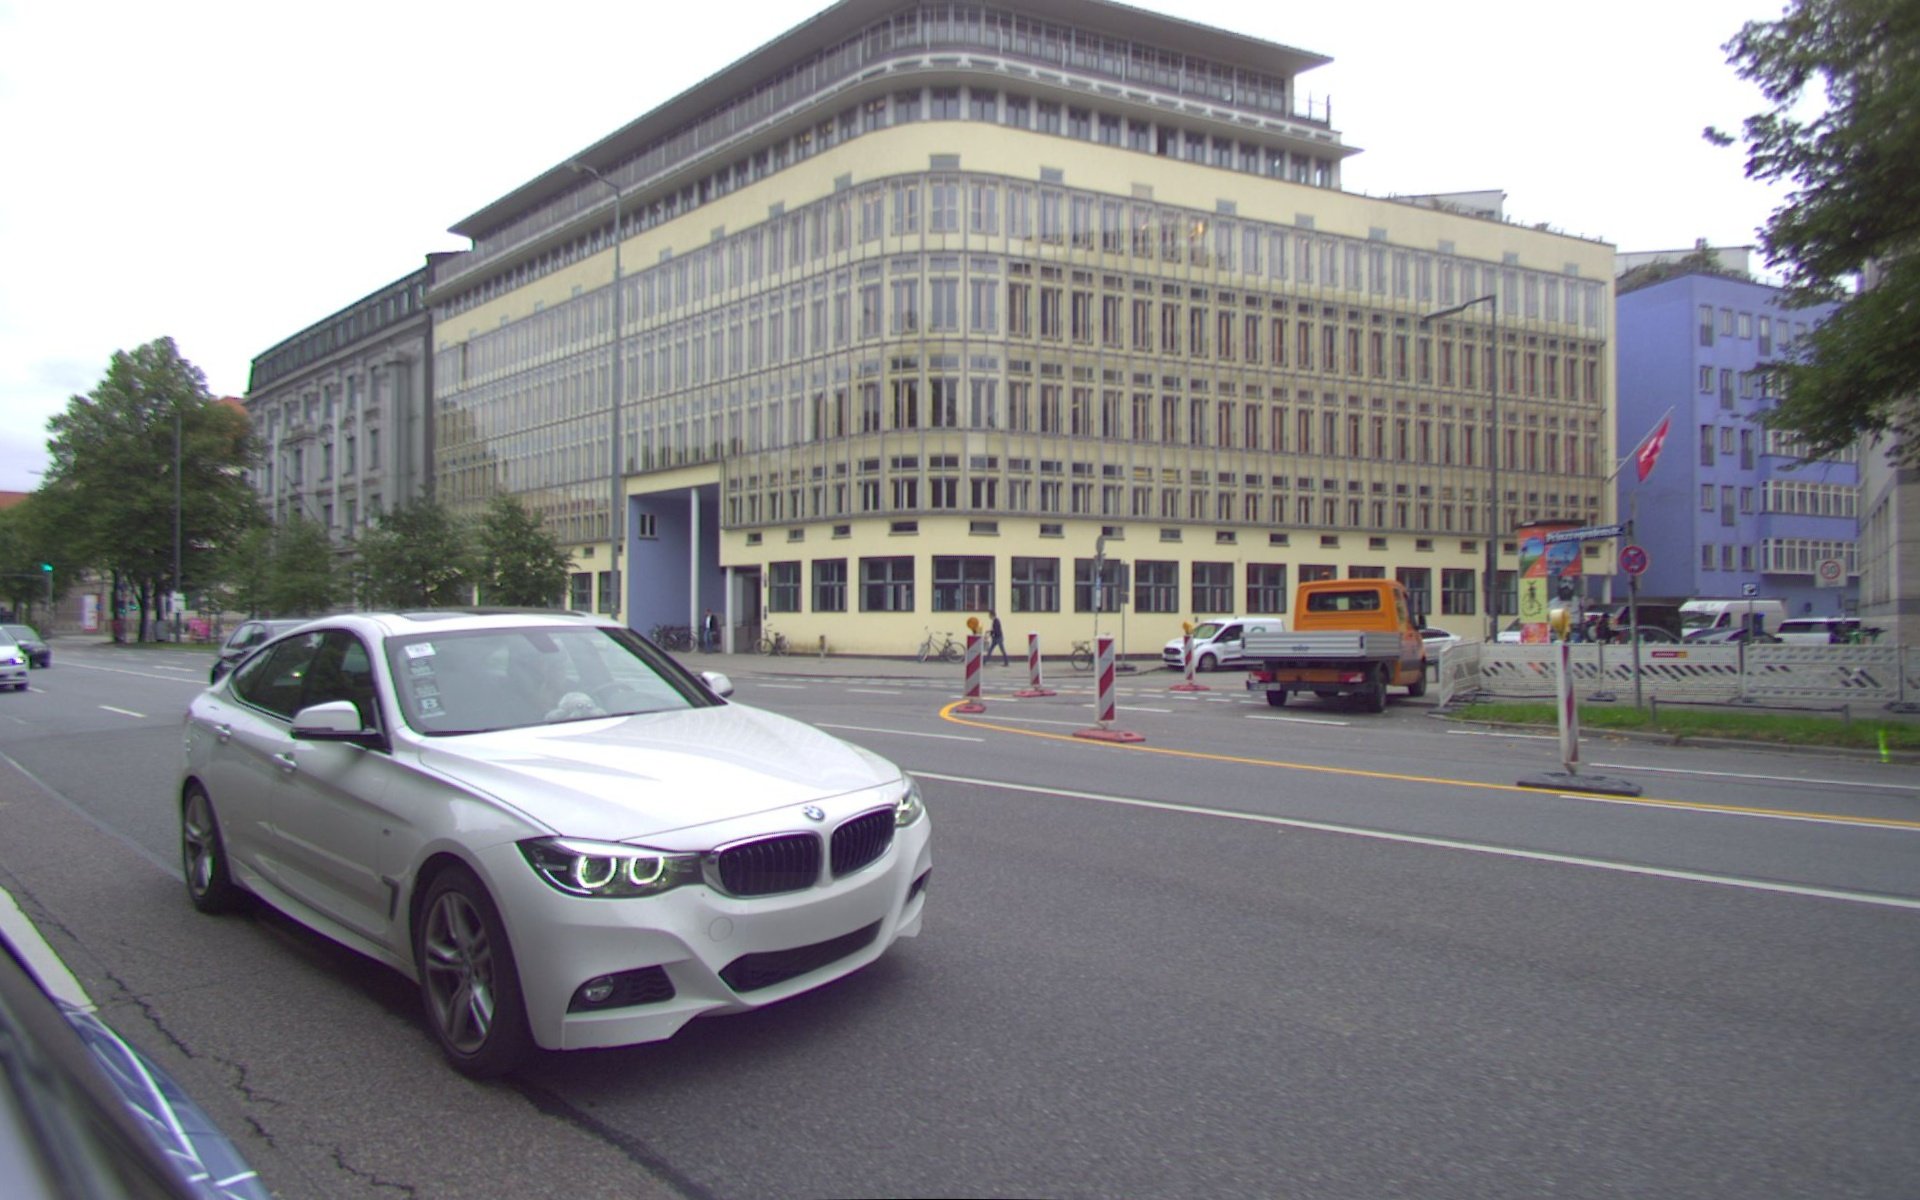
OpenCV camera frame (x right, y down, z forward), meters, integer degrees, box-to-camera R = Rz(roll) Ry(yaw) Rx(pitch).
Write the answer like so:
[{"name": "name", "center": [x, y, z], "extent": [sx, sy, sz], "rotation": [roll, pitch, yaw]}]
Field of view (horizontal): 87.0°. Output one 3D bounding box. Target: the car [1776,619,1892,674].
[{"name": "car", "center": [27.784, 1.445, 32.184], "extent": [3.128, 1.677, 1.494], "rotation": [0, -2, -22]}]

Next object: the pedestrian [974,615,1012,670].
[{"name": "pedestrian", "center": [1.075, 1.367, 33.194], "extent": [0.978, 1.746, 0.817], "rotation": [-1, 0, -19]}]

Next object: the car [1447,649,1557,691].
[{"name": "car", "center": [20.868, 2.653, 38.977], "extent": [3.607, 1.468, 1.748], "rotation": [0, -2, -21]}]

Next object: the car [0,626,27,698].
[{"name": "car", "center": [-21.542, 1.290, 21.676], "extent": [4.272, 1.458, 1.774], "rotation": [-1, -1, 40]}]

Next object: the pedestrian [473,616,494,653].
[{"name": "pedestrian", "center": [-23.336, 1.695, 49.551], "extent": [0.835, 1.790, 0.609], "rotation": [-1, 0, 41]}]

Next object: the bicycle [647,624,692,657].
[{"name": "bicycle", "center": [-12.668, 1.762, 44.175], "extent": [0.573, 1.328, 1.991], "rotation": [-1, 0, 35]}]

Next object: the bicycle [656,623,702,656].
[{"name": "bicycle", "center": [-12.160, 1.692, 43.810], "extent": [0.573, 1.328, 1.991], "rotation": [-1, 0, 35]}]

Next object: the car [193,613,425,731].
[{"name": "car", "center": [-9.803, 0.982, 15.115], "extent": [4.335, 1.528, 1.674], "rotation": [-1, -2, 40]}]

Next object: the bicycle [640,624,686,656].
[{"name": "bicycle", "center": [-13.110, 1.762, 44.670], "extent": [0.637, 1.328, 1.991], "rotation": [-1, 0, 35]}]

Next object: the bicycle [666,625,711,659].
[{"name": "bicycle", "center": [-11.651, 1.788, 43.475], "extent": [0.573, 1.328, 1.991], "rotation": [-1, 0, 35]}]

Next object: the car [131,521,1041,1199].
[{"name": "car", "center": [-2.174, 0.675, 4.755], "extent": [5.022, 1.649, 1.774], "rotation": [-1, -1, 40]}]

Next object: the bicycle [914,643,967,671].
[{"name": "bicycle", "center": [-0.669, 1.903, 33.975], "extent": [1.709, 0.884, 0.587], "rotation": [0, -2, -8]}]

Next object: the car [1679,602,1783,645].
[{"name": "car", "center": [33.271, 1.012, 43.682], "extent": [3.930, 1.763, 1.876], "rotation": [0, -2, -24]}]

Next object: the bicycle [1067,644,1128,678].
[{"name": "bicycle", "center": [4.374, 1.939, 32.138], "extent": [1.817, 1.028, 0.587], "rotation": [0, -2, -8]}]

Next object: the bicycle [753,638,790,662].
[{"name": "bicycle", "center": [-7.088, 1.870, 38.012], "extent": [1.737, 0.884, 0.471], "rotation": [-2, -2, 44]}]

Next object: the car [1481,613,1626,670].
[{"name": "car", "center": [21.248, 1.441, 36.221], "extent": [4.984, 1.924, 1.758], "rotation": [0, -2, -22]}]

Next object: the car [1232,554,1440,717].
[{"name": "car", "center": [7.146, 0.624, 18.797], "extent": [2.152, 2.556, 5.629], "rotation": [-1, -2, 36]}]

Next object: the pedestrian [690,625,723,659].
[{"name": "pedestrian", "center": [-10.235, 1.686, 40.869], "extent": [1.085, 1.375, 0.829], "rotation": [-2, -2, 40]}]

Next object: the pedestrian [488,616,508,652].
[{"name": "pedestrian", "center": [-22.848, 1.677, 50.055], "extent": [0.835, 1.790, 0.609], "rotation": [-1, 0, 41]}]

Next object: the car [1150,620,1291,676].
[{"name": "car", "center": [8.746, 1.563, 33.963], "extent": [4.254, 1.763, 1.876], "rotation": [0, -2, -21]}]

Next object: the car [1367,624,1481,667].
[{"name": "car", "center": [16.969, 1.629, 36.991], "extent": [3.896, 1.509, 1.494], "rotation": [0, -2, -22]}]
